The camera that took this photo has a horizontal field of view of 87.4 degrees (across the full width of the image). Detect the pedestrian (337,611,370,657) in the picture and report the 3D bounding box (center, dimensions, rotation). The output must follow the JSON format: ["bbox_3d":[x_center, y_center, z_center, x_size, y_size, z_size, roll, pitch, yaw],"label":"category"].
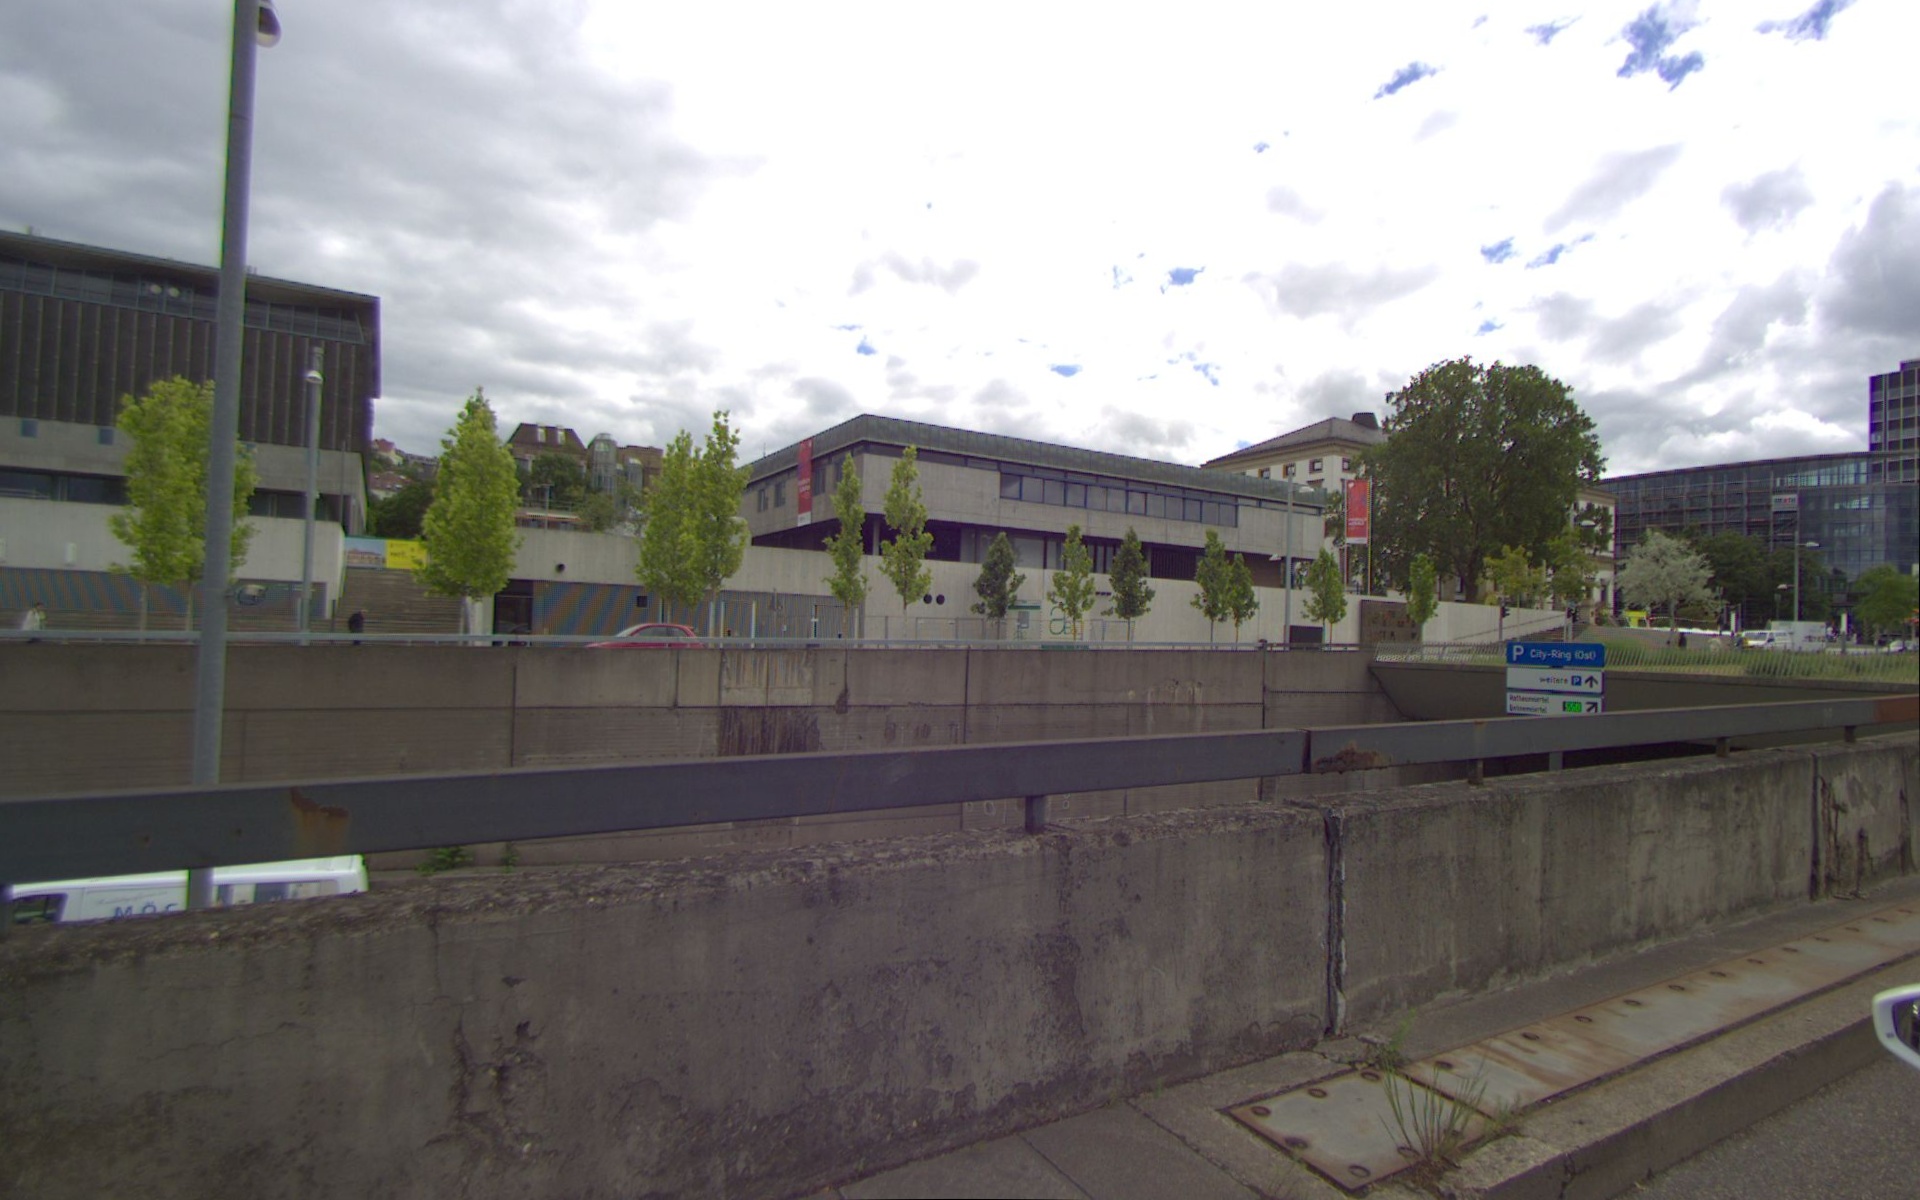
[{"bbox_3d":[-22.108,1.246,36.640,0.777,1.664,0.740,0,-1,-2],"label":"pedestrian"}]

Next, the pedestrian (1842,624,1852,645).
[{"bbox_3d":[89.273,3.466,101.104,0.730,2.040,0.916,-1,-1,41],"label":"pedestrian"}]

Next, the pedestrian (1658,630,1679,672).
[{"bbox_3d":[34.984,2.495,49.581,0.779,2.040,0.834,-1,-1,33],"label":"pedestrian"}]

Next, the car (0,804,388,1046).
[{"bbox_3d":[-10.225,3.995,12.757,5.054,2.040,2.208,2,-1,-29],"label":"car"}]

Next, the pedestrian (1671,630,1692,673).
[{"bbox_3d":[35.626,2.530,49.578,0.779,2.040,0.834,-1,-1,33],"label":"pedestrian"}]

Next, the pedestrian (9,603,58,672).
[{"bbox_3d":[-28.025,1.127,30.388,0.777,2.040,0.741,0,-1,0],"label":"pedestrian"}]

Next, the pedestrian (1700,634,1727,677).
[{"bbox_3d":[36.986,2.711,49.285,0.617,2.040,0.861,0,-1,-9],"label":"pedestrian"}]

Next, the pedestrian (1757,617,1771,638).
[{"bbox_3d":[76.124,2.609,95.142,1.103,2.040,0.734,0,-1,-35],"label":"pedestrian"}]

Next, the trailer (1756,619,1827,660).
[{"bbox_3d":[57.676,2.696,69.663,5.443,2.640,2.028,1,1,-30],"label":"trailer"}]

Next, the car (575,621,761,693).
[{"bbox_3d":[-8.304,1.588,28.685,4.687,1.879,2.161,2,-1,-34],"label":"car"}]

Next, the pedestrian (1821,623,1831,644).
[{"bbox_3d":[86.999,3.342,100.937,0.730,2.040,0.916,-1,-1,41],"label":"pedestrian"}]

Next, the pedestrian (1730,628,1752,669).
[{"bbox_3d":[40.031,2.496,51.477,0.623,2.041,0.724,-4,2,-37],"label":"pedestrian"}]

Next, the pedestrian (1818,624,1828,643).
[{"bbox_3d":[92.359,3.556,107.486,0.730,2.040,0.789,-1,-1,40],"label":"pedestrian"}]

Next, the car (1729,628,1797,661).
[{"bbox_3d":[53.466,2.905,66.865,4.635,2.040,1.985,0,0,-30],"label":"car"}]
